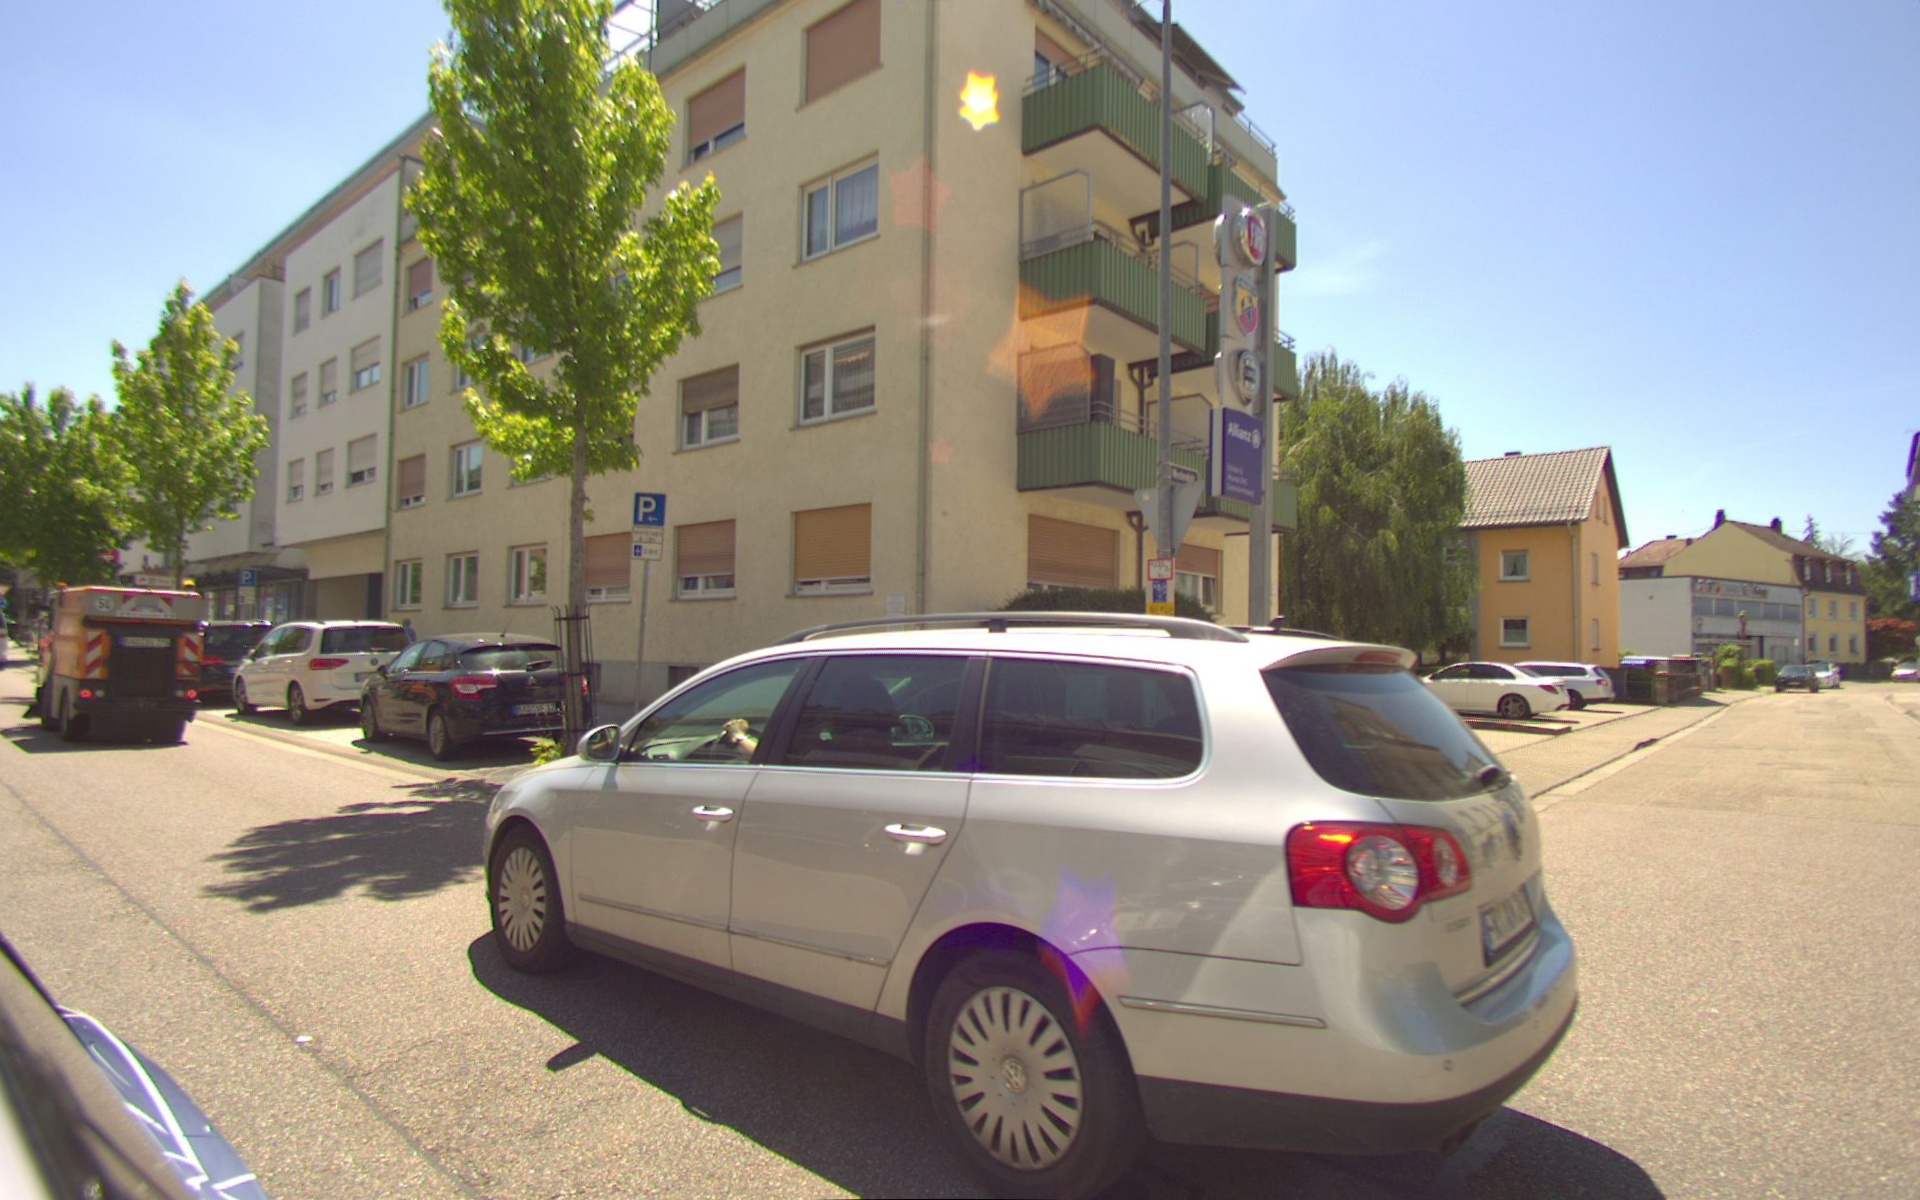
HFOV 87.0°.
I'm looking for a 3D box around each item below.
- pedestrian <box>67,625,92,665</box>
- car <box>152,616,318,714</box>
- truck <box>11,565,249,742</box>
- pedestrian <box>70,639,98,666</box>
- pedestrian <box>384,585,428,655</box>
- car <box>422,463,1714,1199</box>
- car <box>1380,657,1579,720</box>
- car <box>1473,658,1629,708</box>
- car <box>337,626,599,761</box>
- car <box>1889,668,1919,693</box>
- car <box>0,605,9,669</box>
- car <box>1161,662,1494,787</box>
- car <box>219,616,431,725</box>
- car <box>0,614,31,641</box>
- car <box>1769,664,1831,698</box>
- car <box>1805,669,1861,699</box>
[{"bbox_3d":[-31.222,1.593,35.904,0.560,1.382,0.668,4,-4,-40],"label":"pedestrian"},{"bbox_3d":[-14.779,1.237,20.531,4.389,1.754,1.711,-1,-1,40],"label":"car"},{"bbox_3d":[-11.953,0.763,14.457,4.713,2.134,1.785,-2,-5,41],"label":"truck"},{"bbox_3d":[-30.706,1.825,35.484,0.656,0.864,0.734,4,0,-40],"label":"pedestrian"},{"bbox_3d":[-13.879,0.517,25.353,0.627,1.693,0.652,-2,-6,23],"label":"pedestrian"},{"bbox_3d":[-0.116,0.719,4.008,4.793,1.520,1.929,-4,-7,41],"label":"car"},{"bbox_3d":[13.658,2.331,26.750,4.294,1.512,1.972,-4,-7,41],"label":"car"},{"bbox_3d":[18.865,2.667,32.389,3.998,1.512,1.972,-4,-7,41],"label":"car"},{"bbox_3d":[-6.646,1.101,13.445,4.322,1.485,1.735,-1,-2,44],"label":"car"},{"bbox_3d":[72.440,6.135,76.694,3.932,1.830,1.990,3,-6,-32],"label":"car"},{"bbox_3d":[-31.589,1.109,31.844,4.904,1.937,1.886,-1,-5,42],"label":"car"},{"bbox_3d":[5.129,1.691,14.423,3.998,1.512,1.972,-4,-7,41],"label":"car"},{"bbox_3d":[-10.956,1.127,17.348,4.389,1.632,1.805,-2,-2,40],"label":"car"},{"bbox_3d":[-60.919,1.638,63.132,1.797,1.576,3.958,-3,-6,30],"label":"car"},{"bbox_3d":[46.910,4.553,56.498,3.937,1.830,1.988,5,-7,-41],"label":"car"},{"bbox_3d":[54.535,5.267,63.204,3.937,1.830,1.988,5,-7,-41],"label":"car"}]
